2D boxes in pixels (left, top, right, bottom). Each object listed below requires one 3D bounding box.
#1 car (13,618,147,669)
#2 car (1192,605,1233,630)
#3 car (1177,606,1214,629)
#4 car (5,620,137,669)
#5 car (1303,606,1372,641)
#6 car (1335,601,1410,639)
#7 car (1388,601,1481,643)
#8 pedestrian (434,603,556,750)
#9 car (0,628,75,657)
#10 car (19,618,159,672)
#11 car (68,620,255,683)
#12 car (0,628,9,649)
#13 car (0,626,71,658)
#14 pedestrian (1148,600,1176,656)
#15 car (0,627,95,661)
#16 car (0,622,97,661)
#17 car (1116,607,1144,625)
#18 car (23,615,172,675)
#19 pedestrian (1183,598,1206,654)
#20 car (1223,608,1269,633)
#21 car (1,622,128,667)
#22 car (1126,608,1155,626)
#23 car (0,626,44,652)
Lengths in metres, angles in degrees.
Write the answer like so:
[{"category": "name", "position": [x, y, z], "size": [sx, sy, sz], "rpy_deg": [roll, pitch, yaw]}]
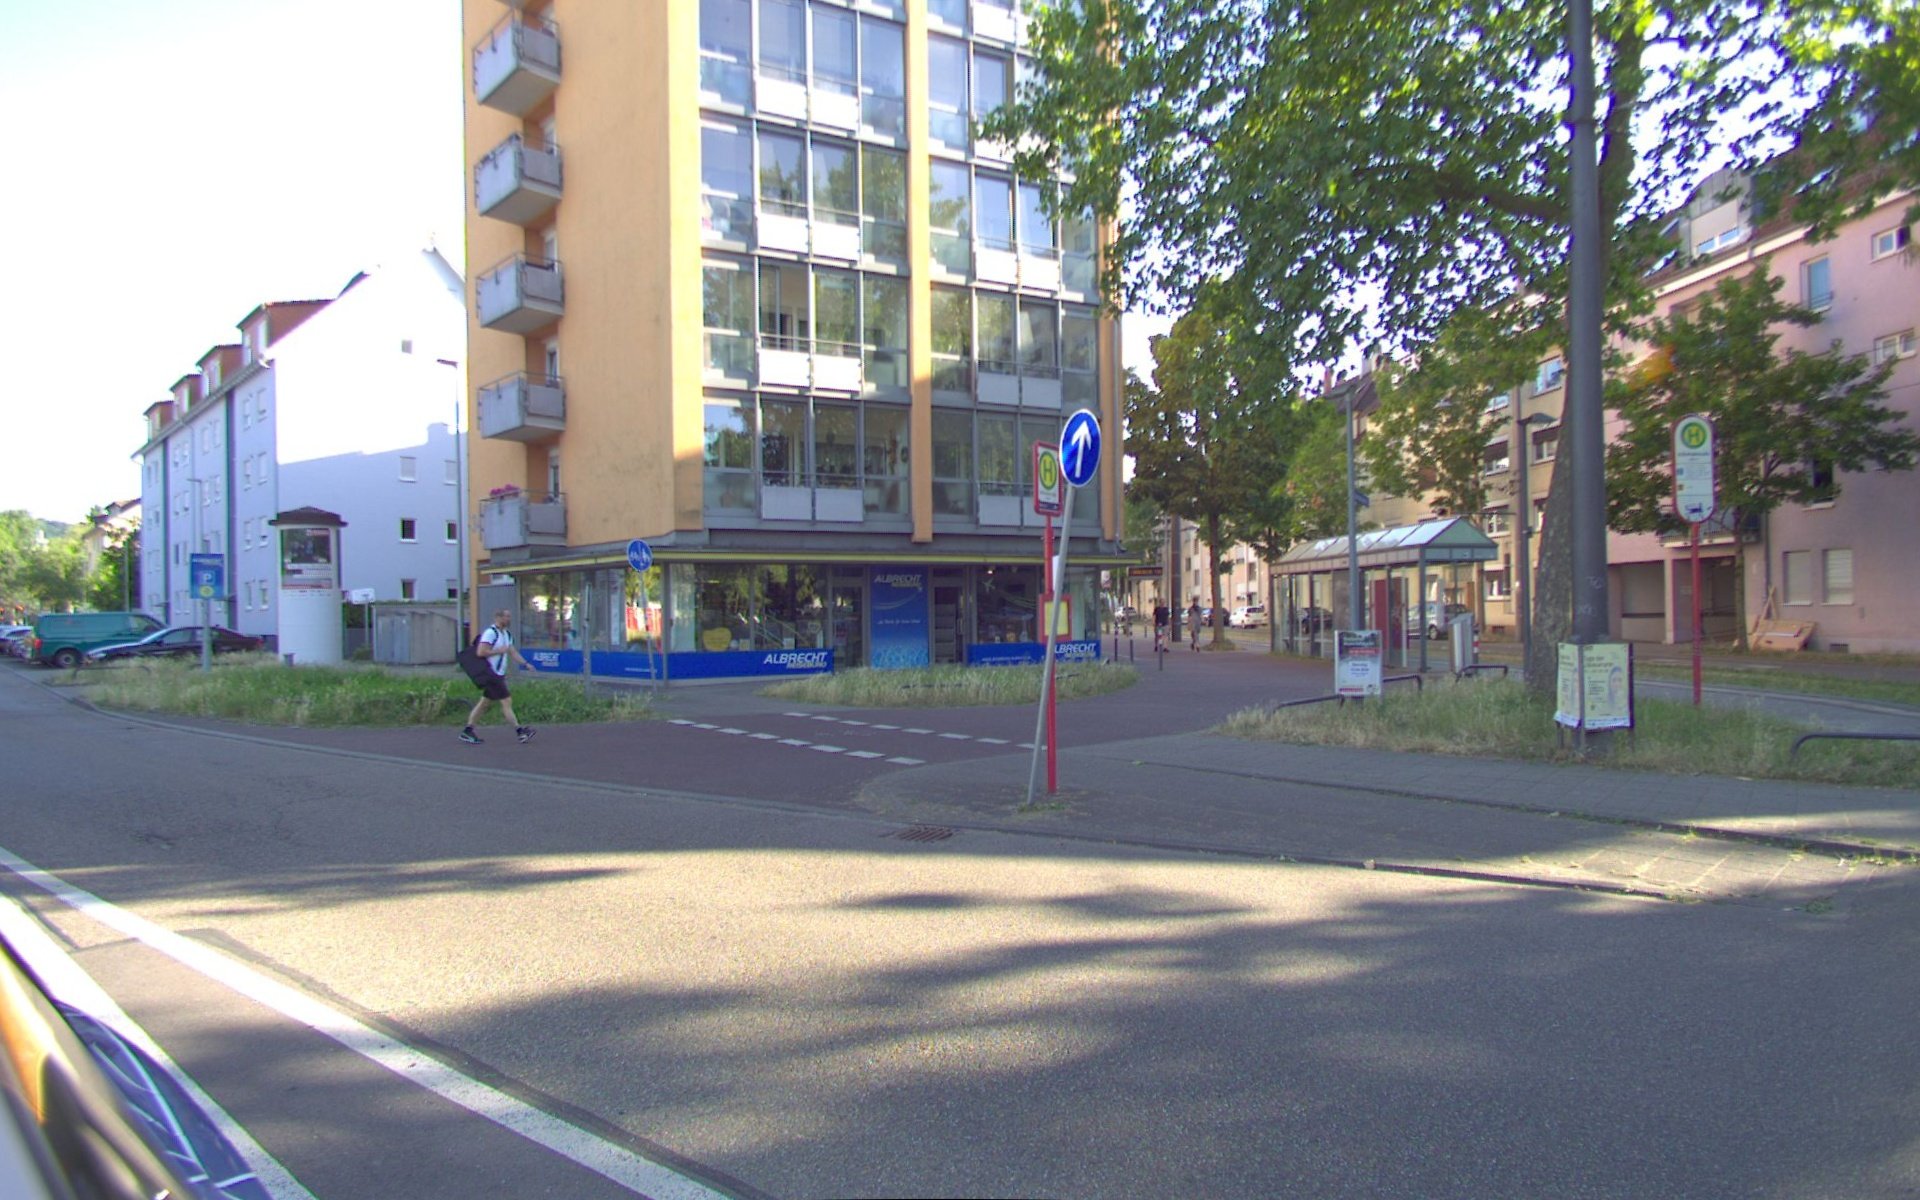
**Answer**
[{"category": "car", "position": [-35.123, 1.680, 40.436], "size": [3.941, 1.829, 2.001], "rpy_deg": [-1, 0, -44]}, {"category": "car", "position": [18.702, 1.277, 75.159], "size": [1.808, 1.719, 4.059], "rpy_deg": [-1, 0, -3]}, {"category": "car", "position": [18.640, 1.363, 80.348], "size": [1.771, 1.719, 4.170], "rpy_deg": [-1, 0, -3]}, {"category": "car", "position": [-36.861, 1.814, 42.014], "size": [4.003, 1.829, 1.938], "rpy_deg": [-1, 0, -44]}, {"category": "car", "position": [19.913, 1.211, 53.602], "size": [1.911, 1.719, 4.115], "rpy_deg": [-1, 0, -3]}, {"category": "car", "position": [19.903, 0.926, 48.989], "size": [1.911, 1.719, 3.827], "rpy_deg": [-1, 0, -3]}, {"category": "car", "position": [20.743, 0.915, 44.434], "size": [1.911, 1.719, 4.115], "rpy_deg": [-1, 0, -3]}, {"category": "pedestrian", "position": [-5.845, 0.926, 12.748], "size": [1.080, 1.750, 0.897], "rpy_deg": [-1, 0, 19]}, {"category": "car", "position": [-55.662, 2.510, 60.384], "size": [4.199, 1.585, 1.867], "rpy_deg": [-1, 0, -44]}, {"category": "car", "position": [-33.123, 1.654, 38.533], "size": [3.941, 1.829, 2.001], "rpy_deg": [-1, 0, -44]}, {"category": "car", "position": [-24.275, 1.514, 30.868], "size": [4.361, 1.674, 2.003], "rpy_deg": [-1, 0, -41]}, {"category": "car", "position": [-74.762, 2.998, 76.965], "size": [3.490, 1.585, 1.867], "rpy_deg": [-1, 0, -44]}, {"category": "car", "position": [-55.796, 2.481, 60.437], "size": [4.016, 1.765, 1.900], "rpy_deg": [-1, 0, -44]}, {"category": "pedestrian", "position": [6.494, 0.886, 32.505], "size": [0.803, 1.763, 0.538], "rpy_deg": [-1, 0, 6]}, {"category": "car", "position": [-48.123, 2.282, 52.959], "size": [4.199, 1.585, 1.867], "rpy_deg": [-1, 0, -44]}, {"category": "car", "position": [-46.120, 2.045, 50.868], "size": [4.061, 1.785, 1.758], "rpy_deg": [-1, 0, -44]}, {"category": "car", "position": [17.731, 1.652, 105.548], "size": [1.911, 1.719, 4.372], "rpy_deg": [-1, 0, -3]}, {"category": "car", "position": [-31.218, 1.563, 36.690], "size": [2.001, 1.962, 3.942], "rpy_deg": [-1, 0, 44]}, {"category": "pedestrian", "position": [7.494, 0.832, 32.374], "size": [0.622, 1.763, 0.689], "rpy_deg": [-1, 0, 6]}, {"category": "car", "position": [19.169, 1.356, 68.054], "size": [1.741, 1.588, 4.049], "rpy_deg": [-1, 0, -3]}, {"category": "car", "position": [-38.830, 1.872, 43.932], "size": [4.016, 1.765, 1.900], "rpy_deg": [-1, 0, -44]}, {"category": "car", "position": [17.781, 1.651, 99.875], "size": [1.911, 1.719, 4.003], "rpy_deg": [-1, 0, -3]}, {"category": "car", "position": [-63.498, 2.613, 66.996], "size": [4.199, 1.585, 1.867], "rpy_deg": [-1, 0, -44]}]
